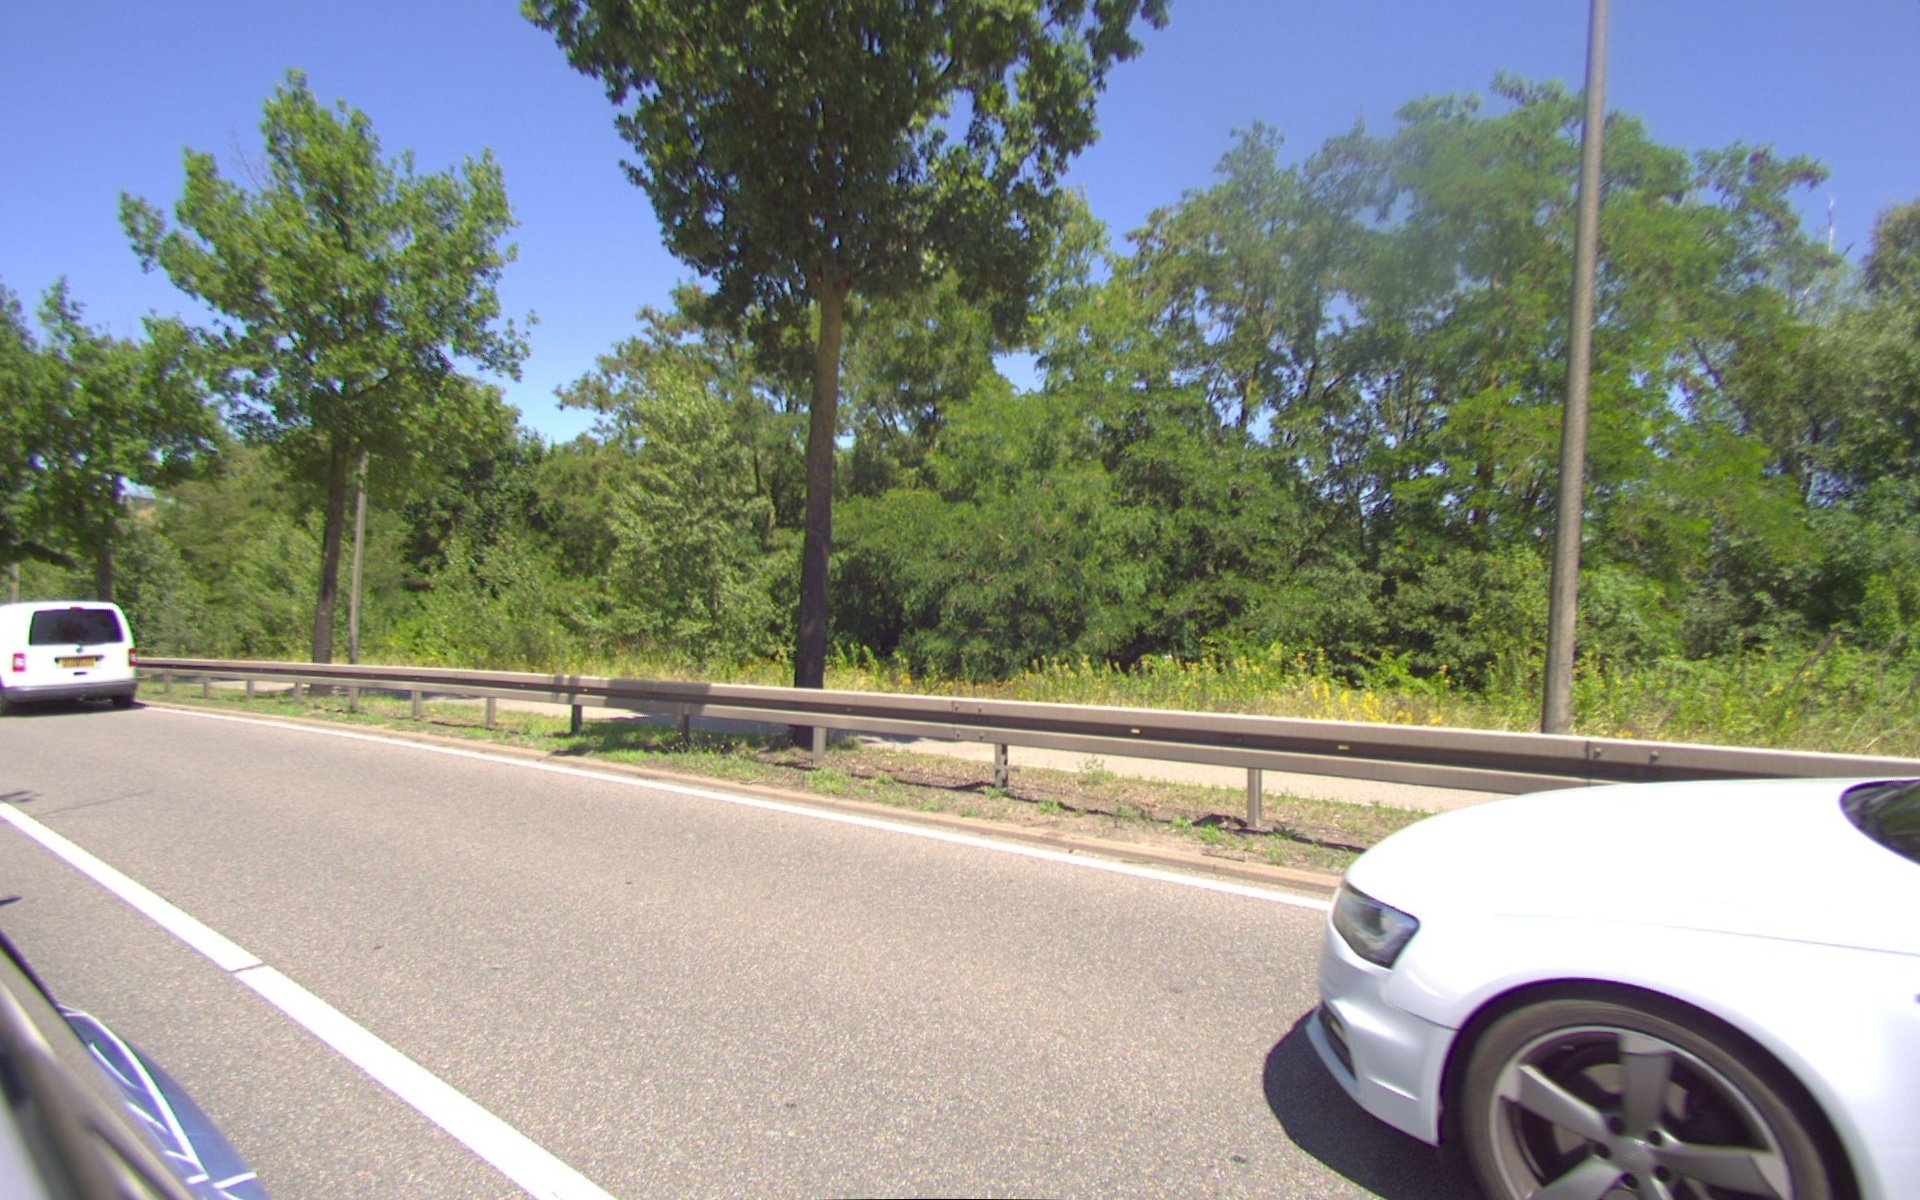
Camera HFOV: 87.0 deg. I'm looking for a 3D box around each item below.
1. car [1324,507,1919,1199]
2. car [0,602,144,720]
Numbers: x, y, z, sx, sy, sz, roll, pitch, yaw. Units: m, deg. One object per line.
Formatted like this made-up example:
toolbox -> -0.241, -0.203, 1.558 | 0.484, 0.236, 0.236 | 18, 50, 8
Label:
car -> 3.105, 0.538, 1.529 | 4.465, 1.432, 1.800 | -1, 0, 42
car -> -15.767, 0.958, 17.231 | 4.377, 1.776, 1.731 | -1, 0, 34
